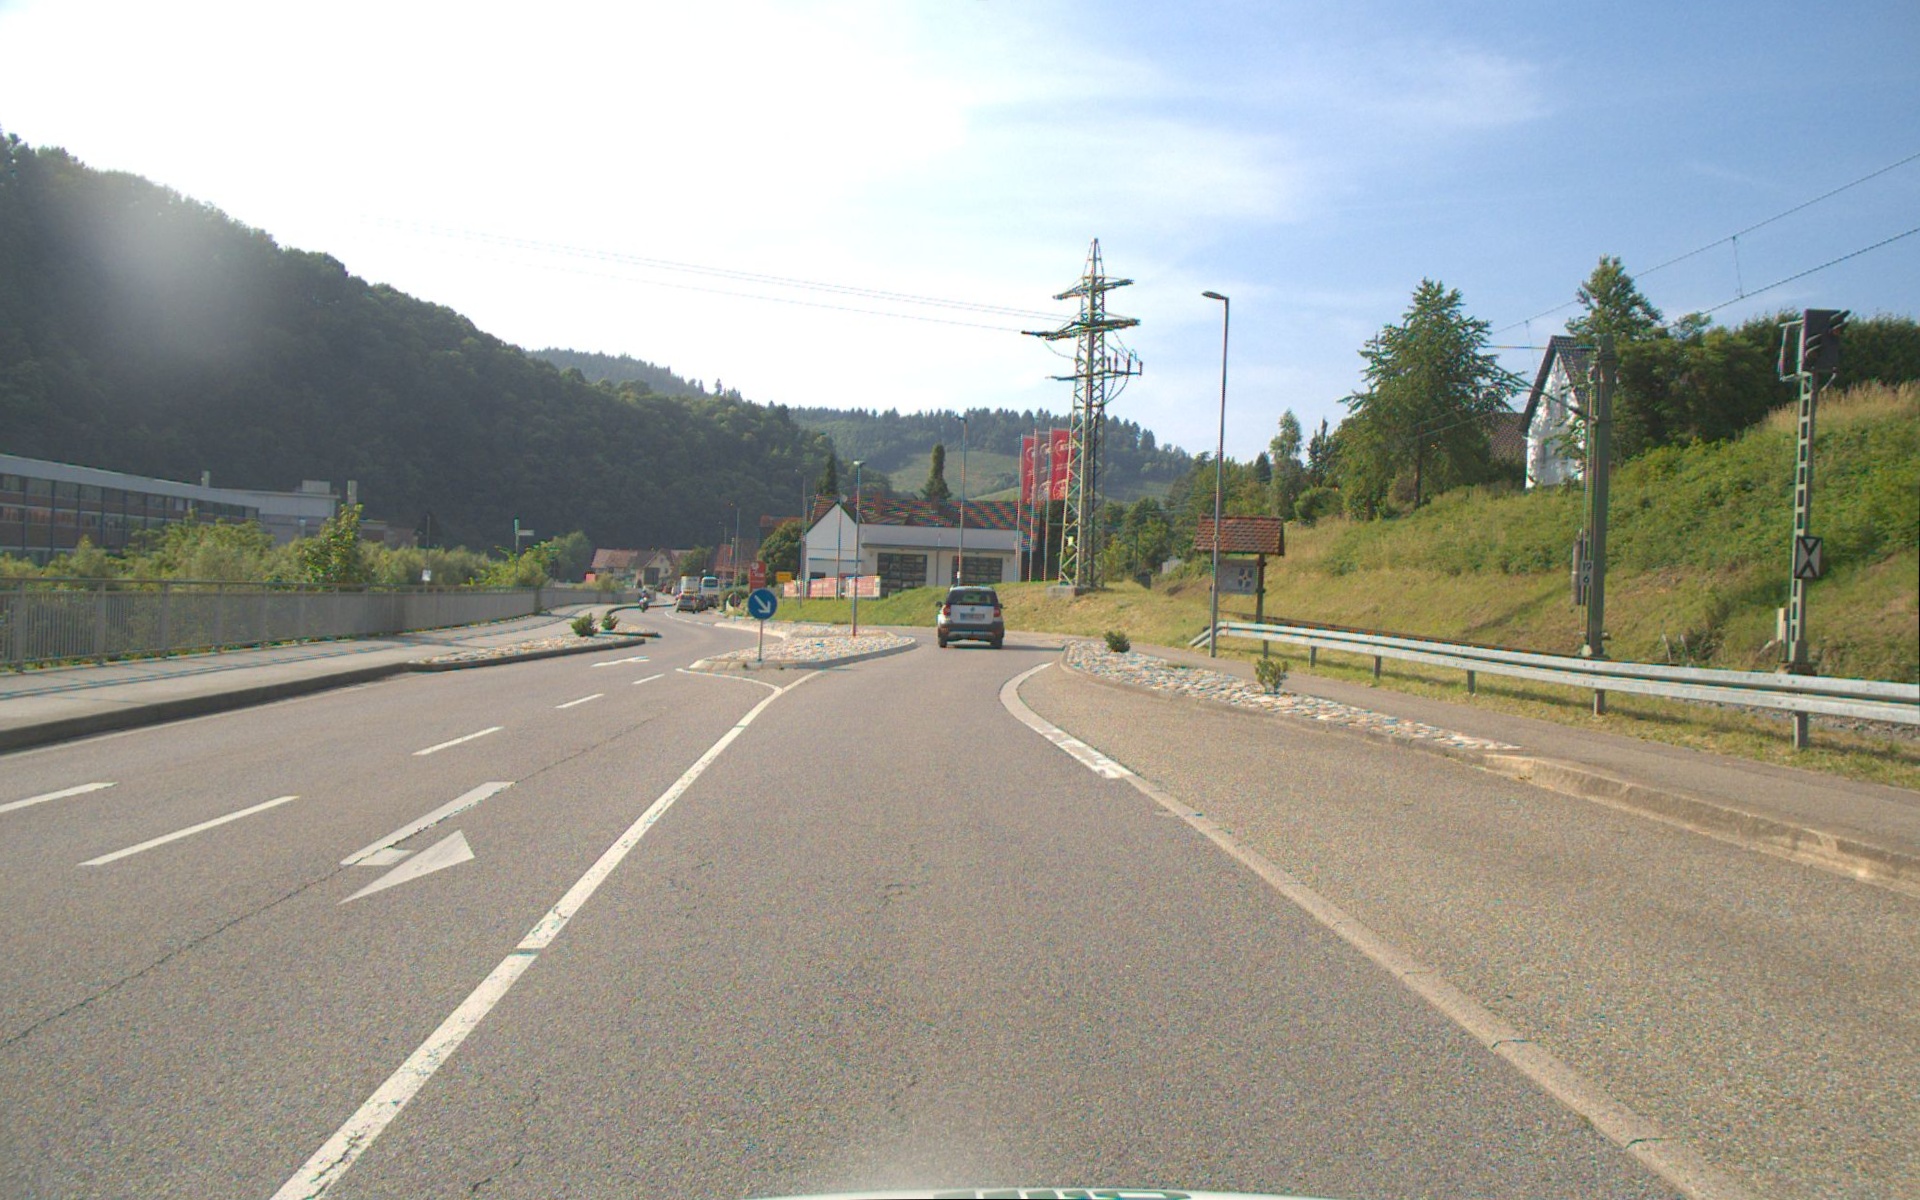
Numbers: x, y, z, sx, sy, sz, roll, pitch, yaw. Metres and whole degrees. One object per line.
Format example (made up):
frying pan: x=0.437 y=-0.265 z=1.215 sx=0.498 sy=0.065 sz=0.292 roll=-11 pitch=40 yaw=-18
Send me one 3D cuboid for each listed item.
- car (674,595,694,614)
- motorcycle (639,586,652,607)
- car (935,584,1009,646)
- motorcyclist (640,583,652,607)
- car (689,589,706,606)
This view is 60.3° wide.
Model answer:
car: x=-23.344 y=0.350 z=139.956 sx=1.426 sy=1.460 sz=2.932 roll=3 pitch=1 yaw=-6
motorcycle: x=-22.869 y=-0.249 z=120.294 sx=0.758 sy=1.447 sz=2.314 roll=1 pitch=0 yaw=-8
car: x=0.293 y=0.411 z=45.990 sx=1.823 sy=1.571 sz=4.371 roll=2 pitch=-1 yaw=-2
motorcyclist: x=-22.820 y=-0.386 z=120.161 sx=0.748 sy=1.707 sz=0.726 roll=1 pitch=-1 yaw=-7
car: x=-23.988 y=-0.212 z=151.170 sx=1.331 sy=1.460 sz=2.834 roll=3 pitch=1 yaw=-8
